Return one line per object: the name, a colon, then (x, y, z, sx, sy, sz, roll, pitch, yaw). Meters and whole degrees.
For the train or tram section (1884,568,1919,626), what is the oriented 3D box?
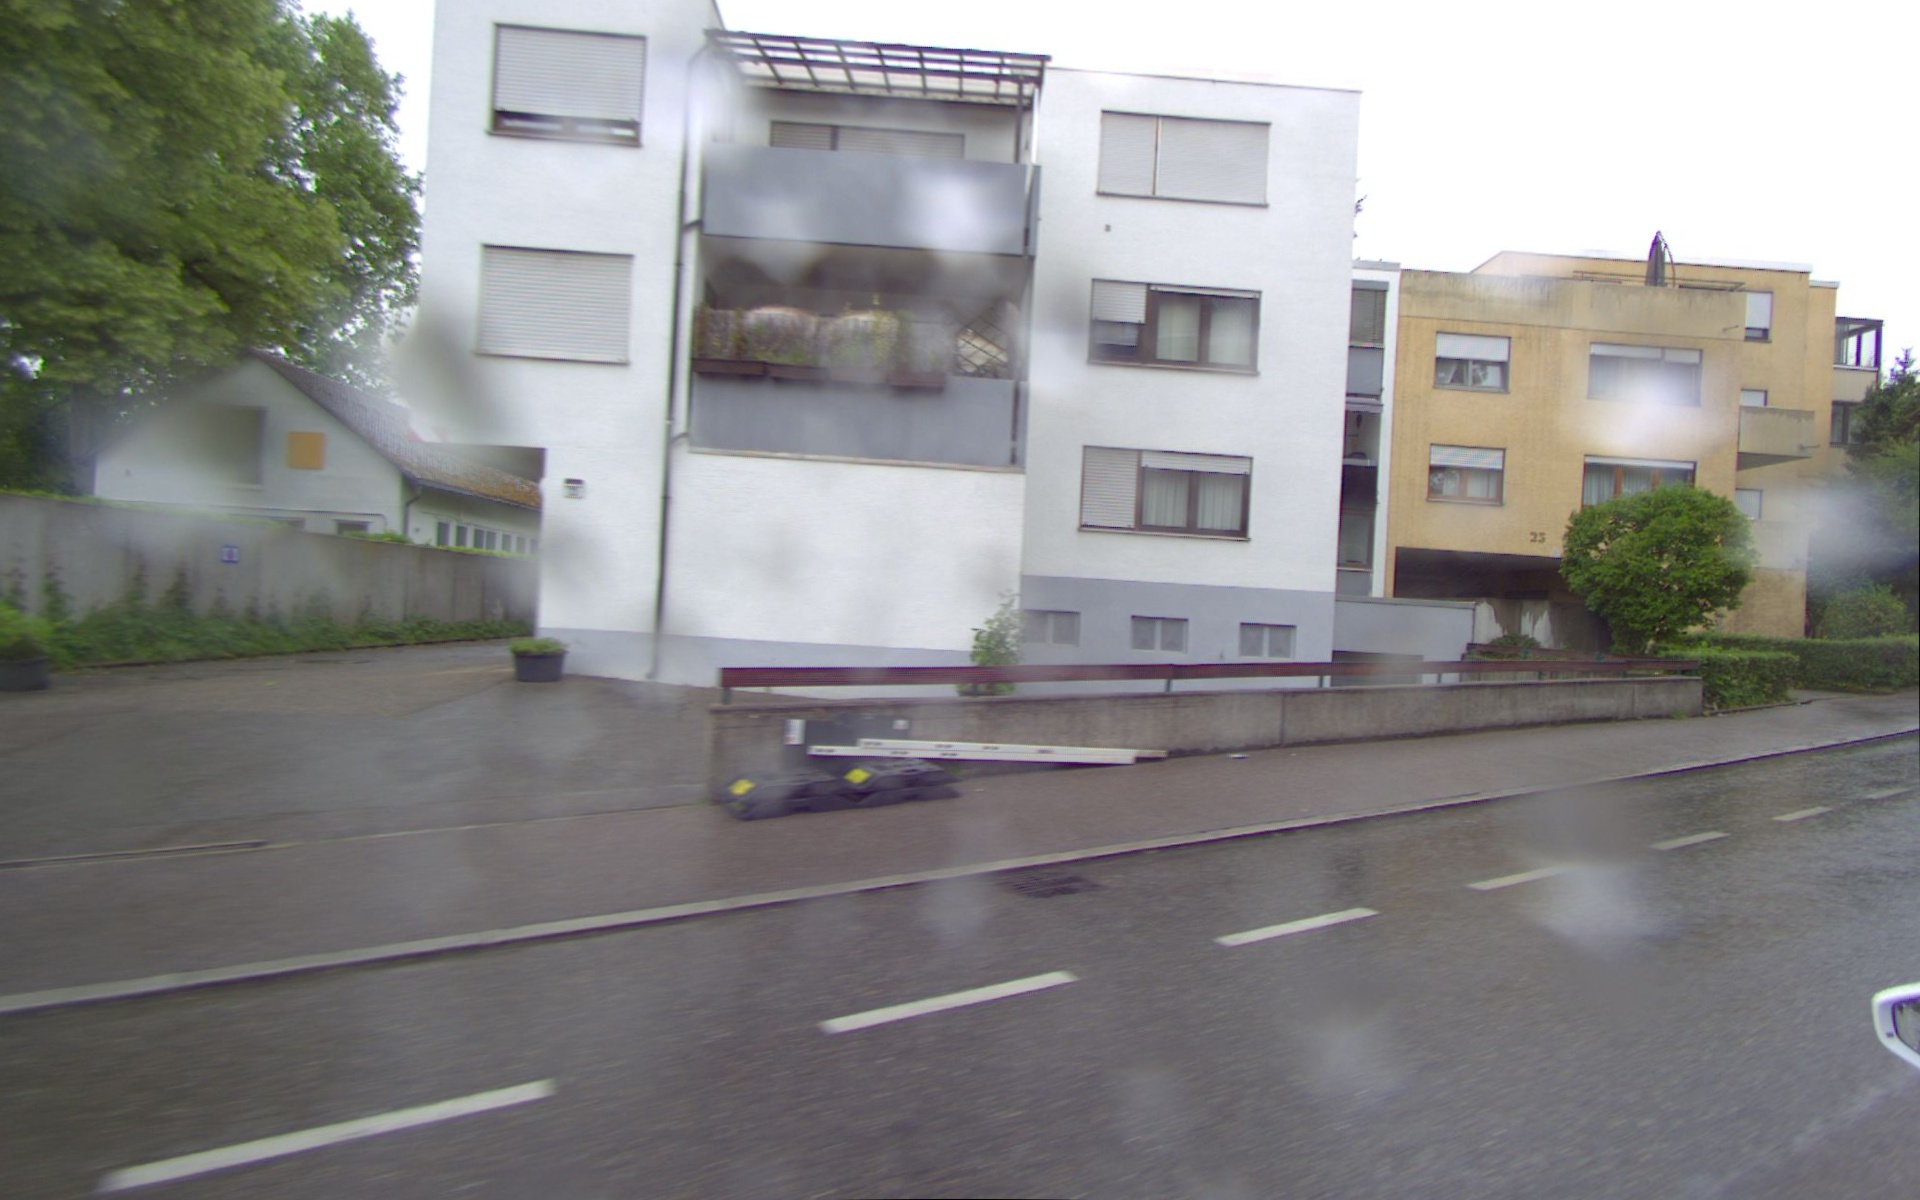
train or tram section: (57.187, -0.172, 57.305, 6.734, 3.246, 2.366, 0, 0, 1)
